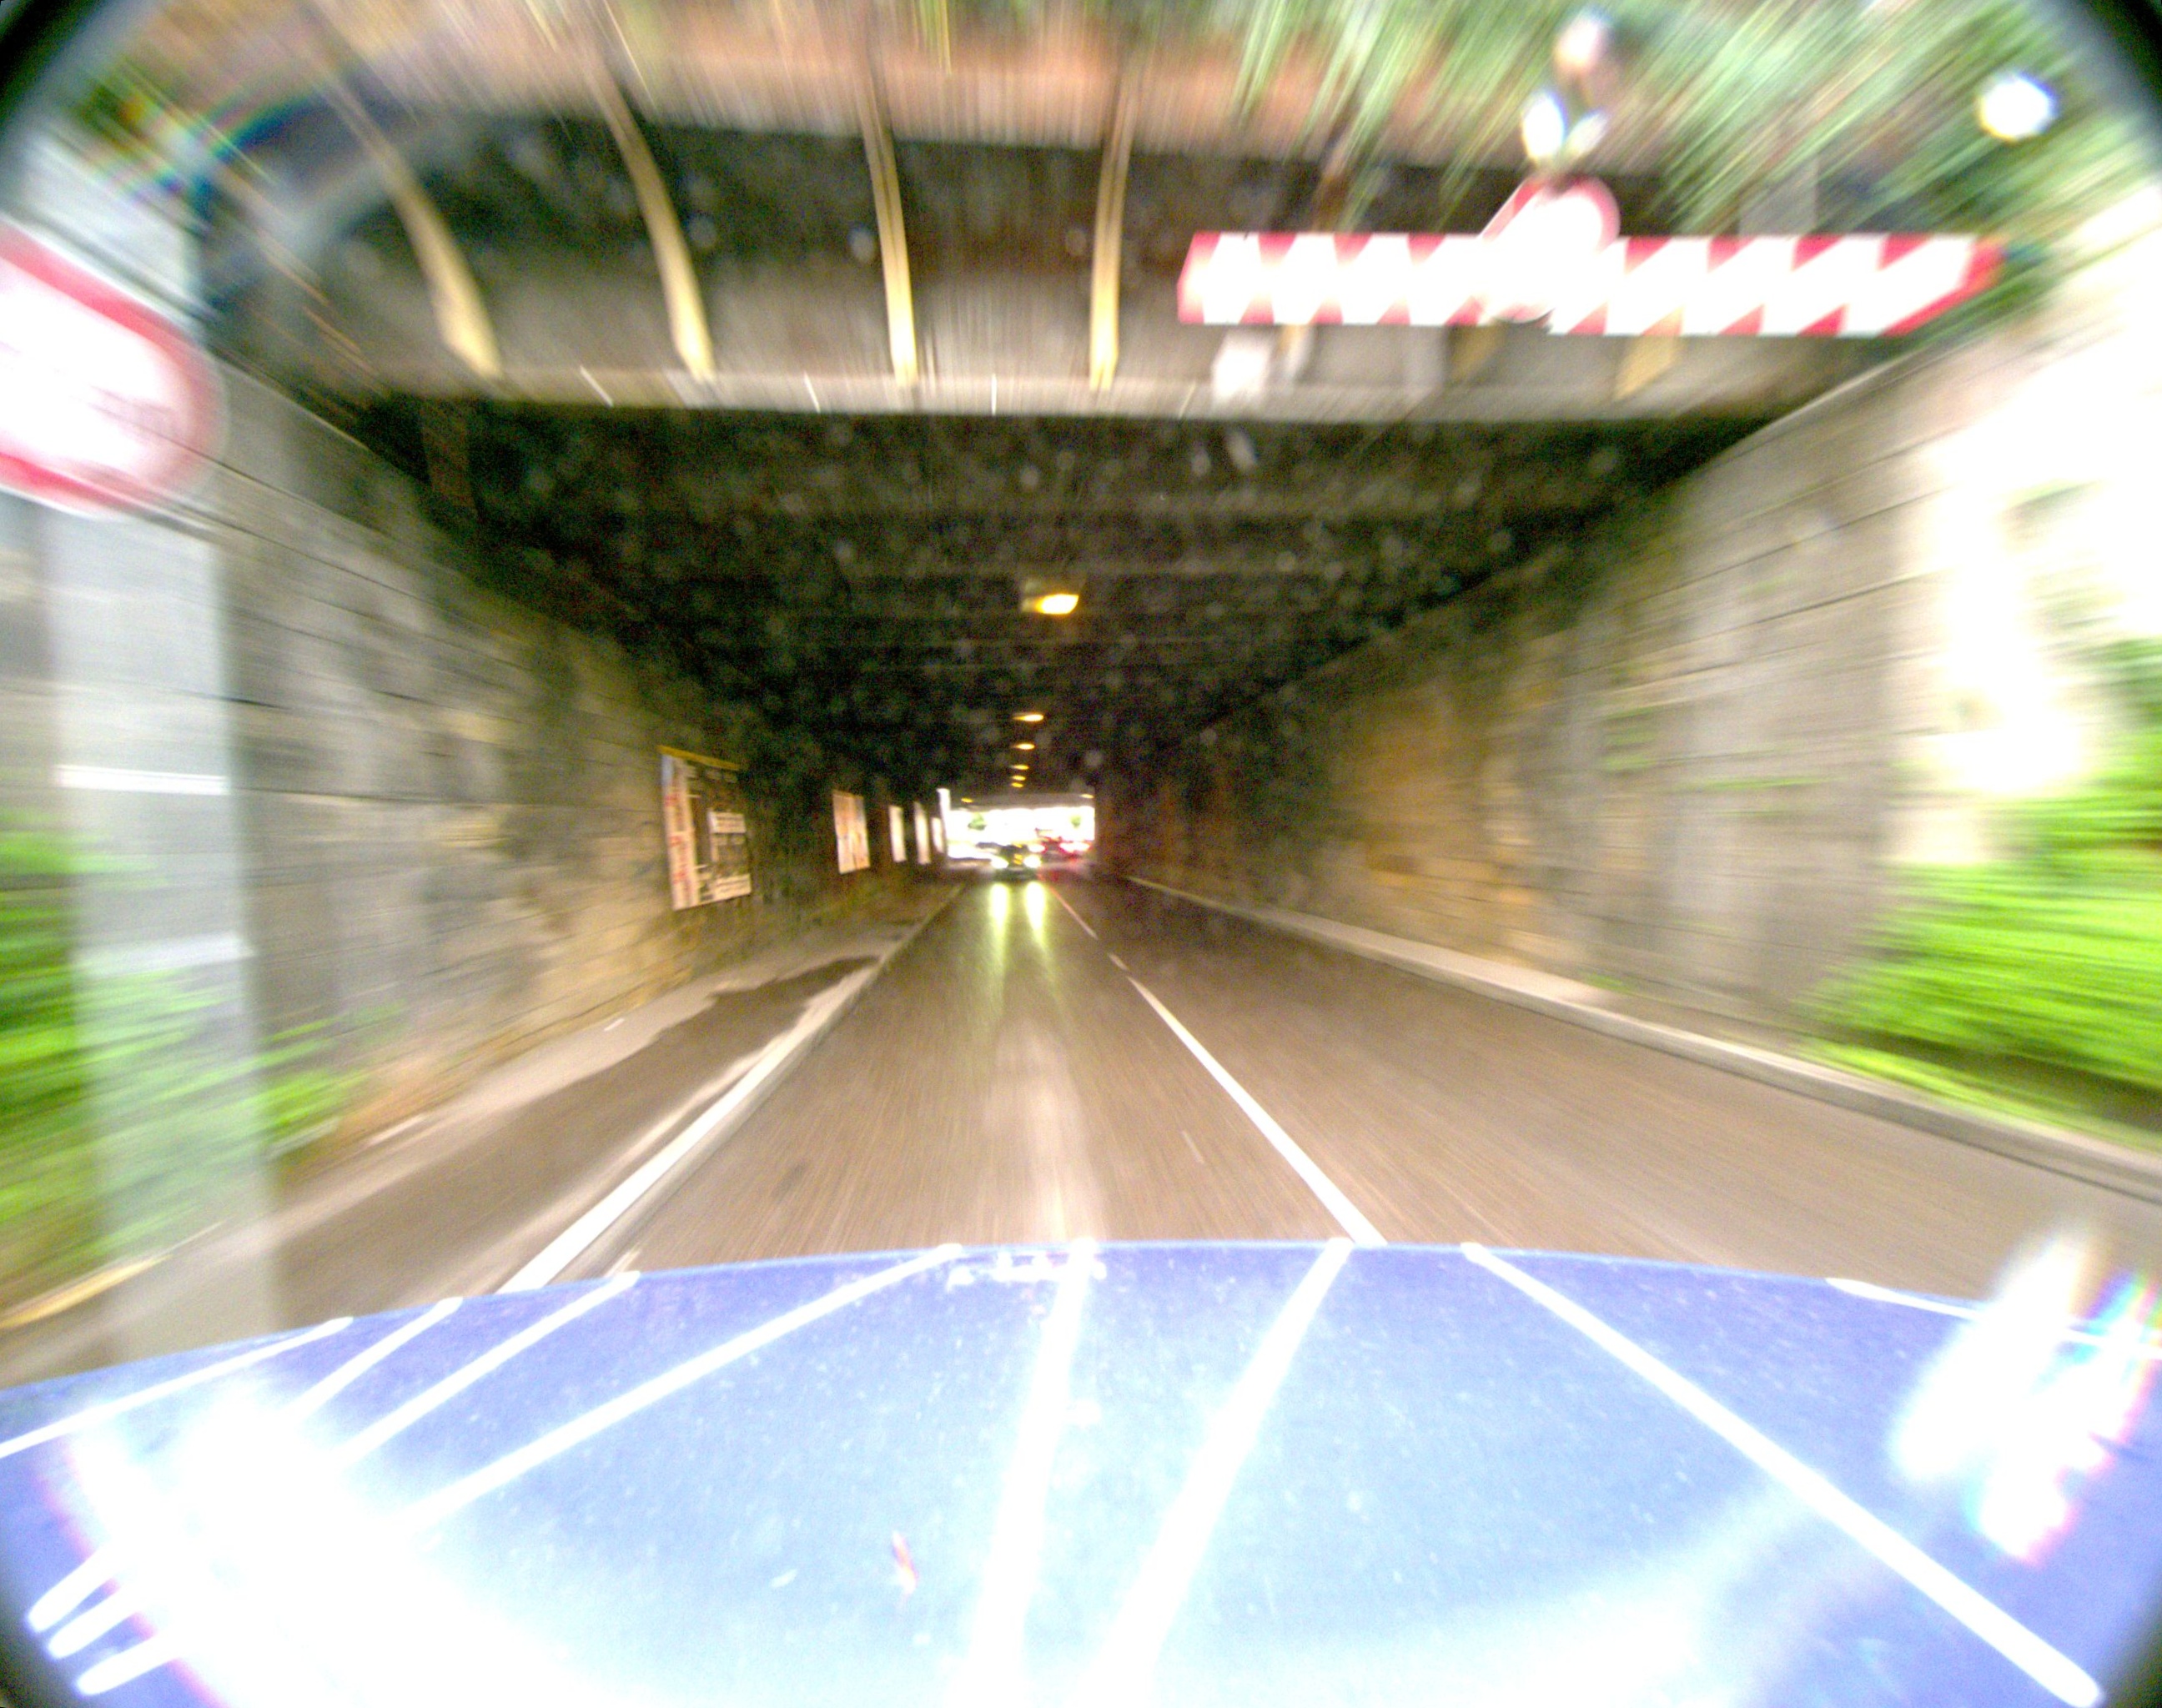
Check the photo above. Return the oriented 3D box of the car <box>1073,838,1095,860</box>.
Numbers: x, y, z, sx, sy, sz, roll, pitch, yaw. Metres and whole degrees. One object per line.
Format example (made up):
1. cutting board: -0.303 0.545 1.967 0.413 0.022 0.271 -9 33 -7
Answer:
1. car: 0.230 -0.412 57.427 1.594 1.533 4.071 -2 2 0

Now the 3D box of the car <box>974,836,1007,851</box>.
1. car: -9.656 -1.141 81.420 3.249 1.449 1.280 -2 2 22

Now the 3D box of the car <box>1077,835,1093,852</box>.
1. car: 0.322 -0.879 63.780 1.277 1.308 3.318 -2 2 -1

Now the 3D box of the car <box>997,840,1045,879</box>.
1. car: -2.643 0.189 32.659 1.812 1.509 4.049 -2 1 -7

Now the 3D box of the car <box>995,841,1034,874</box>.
1. car: -3.369 0.124 38.245 1.812 1.509 4.049 -2 2 -6

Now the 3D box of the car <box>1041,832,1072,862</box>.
1. car: -1.615 -0.501 50.327 1.913 1.792 3.998 -2 2 -1
